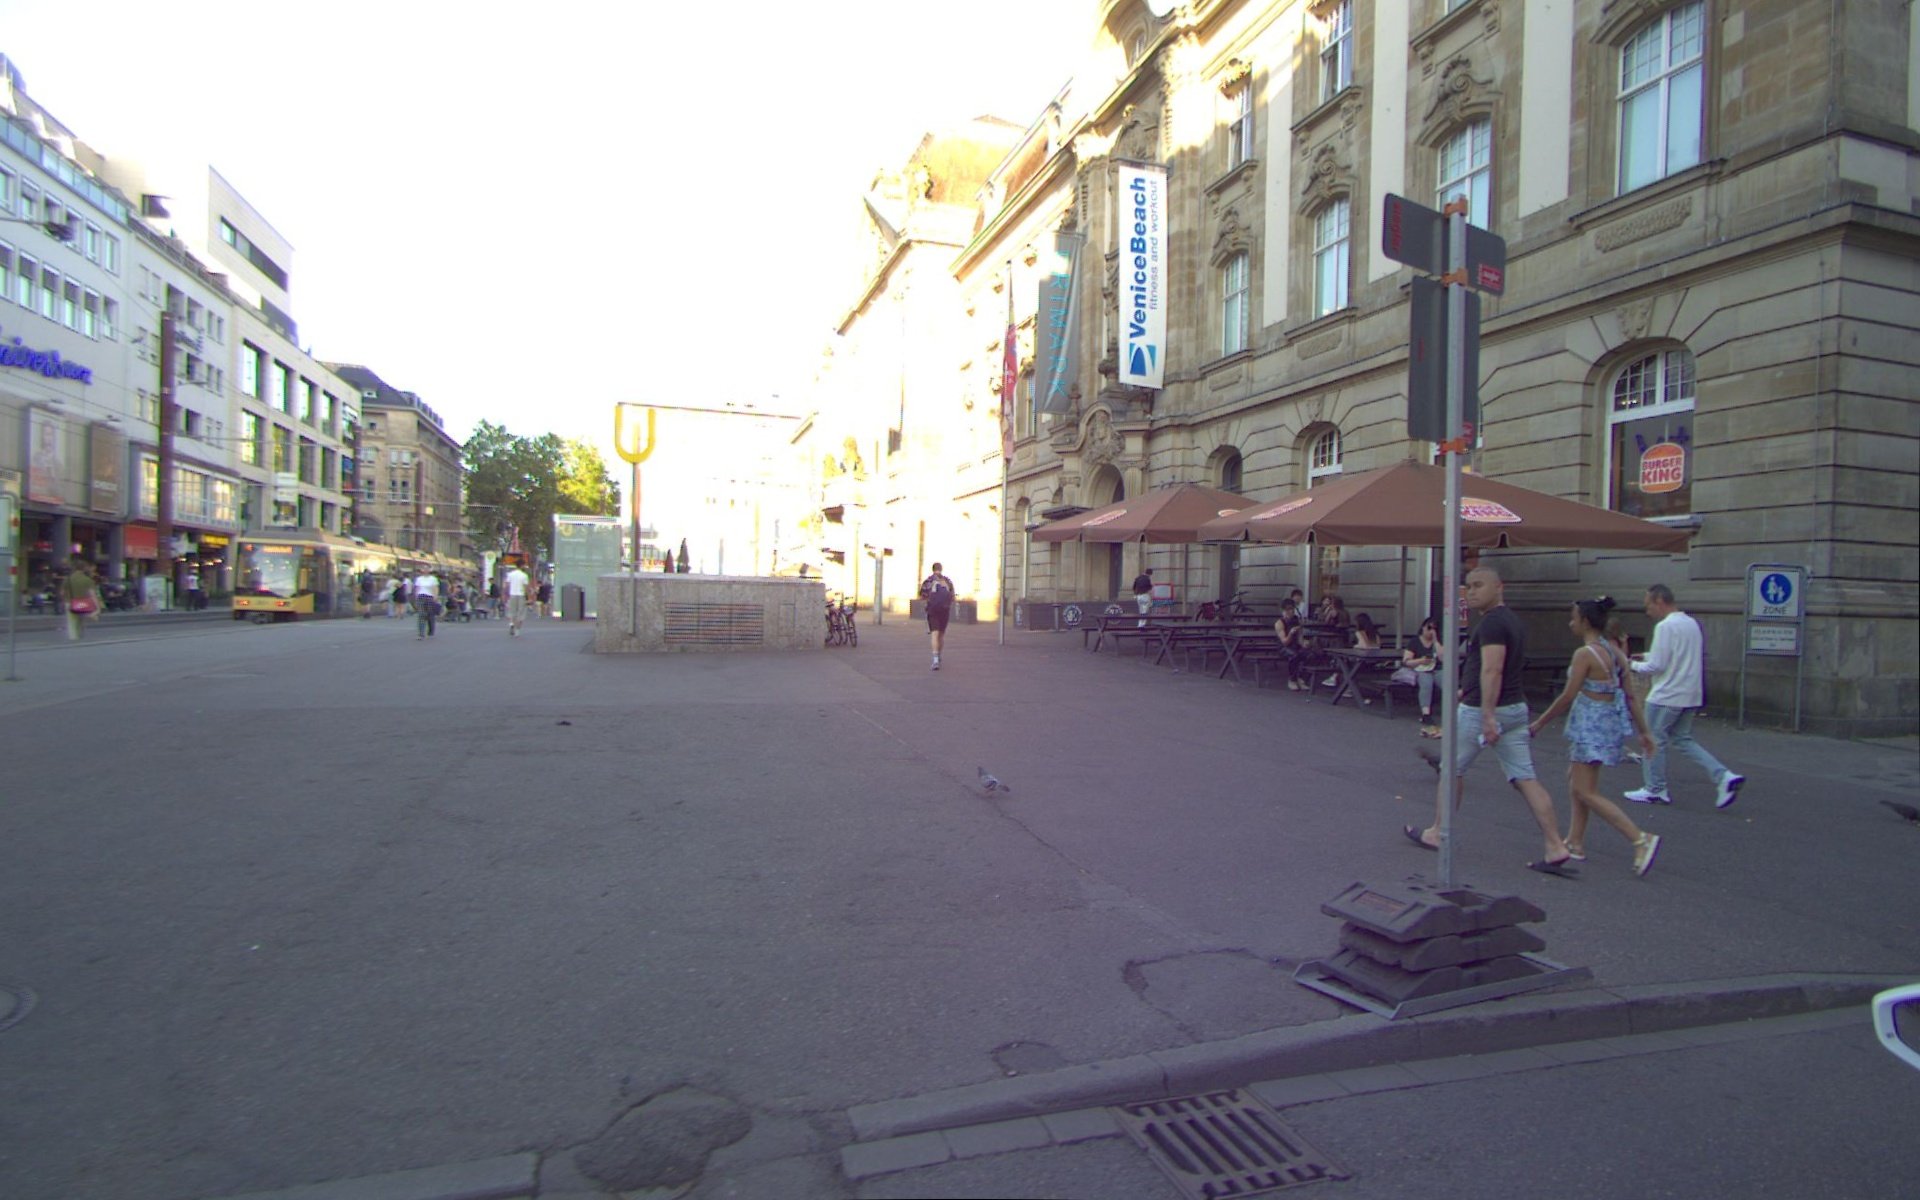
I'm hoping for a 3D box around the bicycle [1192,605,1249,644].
[{"bbox_3d":[6.083,0.568,23.468,1.303,0.906,0.408,0,1,-22],"label":"bicycle"}]

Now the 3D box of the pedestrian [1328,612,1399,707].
[{"bbox_3d":[5.607,0.816,13.990,0.605,1.243,0.700,3,2,-4],"label":"pedestrian"}]

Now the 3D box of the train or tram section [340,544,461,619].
[{"bbox_3d":[-29.225,-0.898,53.246,2.765,3.363,14.450,1,0,-18],"label":"train or tram section"}]

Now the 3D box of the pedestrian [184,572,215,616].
[{"bbox_3d":[-31.207,-0.237,41.223,0.763,1.748,0.707,1,-1,-18],"label":"pedestrian"}]

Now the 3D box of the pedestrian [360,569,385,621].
[{"bbox_3d":[-21.549,-0.178,36.845,0.728,1.847,0.813,1,0,-32],"label":"pedestrian"}]

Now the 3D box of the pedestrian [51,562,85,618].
[{"bbox_3d":[-28.676,-0.306,32.303,0.764,1.748,0.706,0,-1,42],"label":"pedestrian"}]

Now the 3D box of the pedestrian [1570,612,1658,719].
[{"bbox_3d":[8.734,0.862,13.440,0.651,1.327,0.773,1,4,7],"label":"pedestrian"}]

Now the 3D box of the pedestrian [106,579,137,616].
[{"bbox_3d":[-32.257,-0.099,38.649,0.698,1.397,0.717,1,-1,-19],"label":"pedestrian"}]

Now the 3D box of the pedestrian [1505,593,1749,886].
[{"bbox_3d":[3.981,0.782,6.046,0.793,1.602,0.870,3,0,-18],"label":"pedestrian"}]

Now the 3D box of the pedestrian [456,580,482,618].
[{"bbox_3d":[-21.795,-0.049,44.598,0.780,1.683,0.768,1,0,-6],"label":"pedestrian"}]

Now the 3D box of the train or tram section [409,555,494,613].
[{"bbox_3d":[-33.631,-1.004,67.006,2.765,3.363,14.450,1,0,-18],"label":"train or tram section"}]

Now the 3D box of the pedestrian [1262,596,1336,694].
[{"bbox_3d":[5.128,0.672,15.226,0.791,1.401,0.652,2,2,-7],"label":"pedestrian"}]

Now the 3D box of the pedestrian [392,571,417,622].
[{"bbox_3d":[-20.437,-0.141,36.943,0.728,1.847,0.813,1,0,-32],"label":"pedestrian"}]

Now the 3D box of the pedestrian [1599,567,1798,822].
[{"bbox_3d":[5.829,0.695,7.966,0.855,1.864,0.869,1,3,-23],"label":"pedestrian"}]

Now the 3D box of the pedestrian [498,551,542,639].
[{"bbox_3d":[-10.633,-0.113,24.303,0.760,2.040,0.915,2,0,-15],"label":"pedestrian"}]

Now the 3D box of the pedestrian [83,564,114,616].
[{"bbox_3d":[-29.186,-0.325,34.035,0.764,1.748,0.705,0,-1,43],"label":"pedestrian"}]

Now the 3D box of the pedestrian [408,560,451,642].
[{"bbox_3d":[-12.324,0.026,23.350,0.764,1.848,0.935,0,0,-21],"label":"pedestrian"}]

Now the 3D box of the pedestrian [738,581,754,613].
[{"bbox_3d":[-12.681,-0.197,59.557,0.798,1.848,0.802,1,1,-19],"label":"pedestrian"}]

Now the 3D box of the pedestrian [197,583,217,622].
[{"bbox_3d":[-34.505,0.113,46.042,0.594,1.750,0.604,1,-1,-25],"label":"pedestrian"}]

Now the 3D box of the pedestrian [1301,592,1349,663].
[{"bbox_3d":[7.056,0.524,19.437,0.585,1.326,0.579,2,2,-20],"label":"pedestrian"}]

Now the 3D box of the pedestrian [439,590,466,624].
[{"bbox_3d":[-18.756,0.256,37.152,0.783,1.238,0.765,1,0,-21],"label":"pedestrian"}]

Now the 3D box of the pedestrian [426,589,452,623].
[{"bbox_3d":[-19.561,0.216,37.733,0.783,1.238,0.765,1,0,-21],"label":"pedestrian"}]

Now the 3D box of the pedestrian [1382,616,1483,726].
[{"bbox_3d":[5.873,0.866,12.530,0.766,1.259,0.827,3,2,-4],"label":"pedestrian"}]

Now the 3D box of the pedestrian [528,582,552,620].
[{"bbox_3d":[-19.088,0.056,45.630,0.780,1.683,0.768,1,0,-6],"label":"pedestrian"}]

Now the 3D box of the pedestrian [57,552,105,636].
[{"bbox_3d":[-18.656,-0.115,21.329,0.714,1.748,0.701,1,-1,-40],"label":"pedestrian"}]

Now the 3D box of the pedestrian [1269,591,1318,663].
[{"bbox_3d":[6.394,0.510,19.281,0.585,1.326,0.579,2,2,-22],"label":"pedestrian"}]

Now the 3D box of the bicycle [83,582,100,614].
[{"bbox_3d":[-32.500,-0.070,37.586,0.431,1.157,1.598,1,0,-41],"label":"bicycle"}]

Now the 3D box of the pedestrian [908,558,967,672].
[{"bbox_3d":[-0.386,0.243,16.737,0.797,1.848,0.803,1,1,-13],"label":"pedestrian"}]

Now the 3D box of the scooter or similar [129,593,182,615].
[{"bbox_3d":[-31.343,0.153,39.154,0.548,0.842,1.525,1,-1,21],"label":"scooter or similar"}]

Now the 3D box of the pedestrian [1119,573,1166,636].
[{"bbox_3d":[4.697,0.106,25.849,0.838,1.587,0.845,3,2,45],"label":"pedestrian"}]

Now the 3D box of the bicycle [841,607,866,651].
[{"bbox_3d":[-2.214,0.582,20.869,0.311,0.879,0.996,0,1,-19],"label":"bicycle"}]

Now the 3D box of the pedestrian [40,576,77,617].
[{"bbox_3d":[-31.489,-0.118,35.081,0.698,1.397,0.717,1,-1,-19],"label":"pedestrian"}]

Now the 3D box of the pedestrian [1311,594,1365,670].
[{"bbox_3d":[6.886,0.583,18.296,0.600,1.326,0.605,2,2,-22],"label":"pedestrian"}]

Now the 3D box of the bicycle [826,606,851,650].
[{"bbox_3d":[-2.519,0.570,20.766,0.311,0.879,0.996,0,1,-19],"label":"bicycle"}]

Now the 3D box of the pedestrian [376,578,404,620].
[{"bbox_3d":[-22.016,-0.038,38.792,0.782,1.600,0.766,1,0,-20],"label":"pedestrian"}]

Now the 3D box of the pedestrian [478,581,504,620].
[{"bbox_3d":[-20.352,0.024,43.581,0.780,1.683,0.768,1,0,-8],"label":"pedestrian"}]

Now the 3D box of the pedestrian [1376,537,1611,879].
[{"bbox_3d":[3.161,0.604,6.012,0.793,1.864,0.870,3,0,-18],"label":"pedestrian"}]

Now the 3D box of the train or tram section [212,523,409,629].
[{"bbox_3d":[-24.826,-0.796,39.484,2.765,3.363,14.450,1,0,-18],"label":"train or tram section"}]

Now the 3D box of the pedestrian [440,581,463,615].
[{"bbox_3d":[-25.875,-0.096,51.147,0.755,1.683,0.794,1,0,-6],"label":"pedestrian"}]

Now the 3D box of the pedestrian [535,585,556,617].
[{"bbox_3d":[-21.781,0.053,52.774,0.780,1.683,0.768,1,0,-6],"label":"pedestrian"}]

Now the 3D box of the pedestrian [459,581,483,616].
[{"bbox_3d":[-23.831,-0.064,48.954,0.780,1.683,0.768,1,0,-6],"label":"pedestrian"}]
